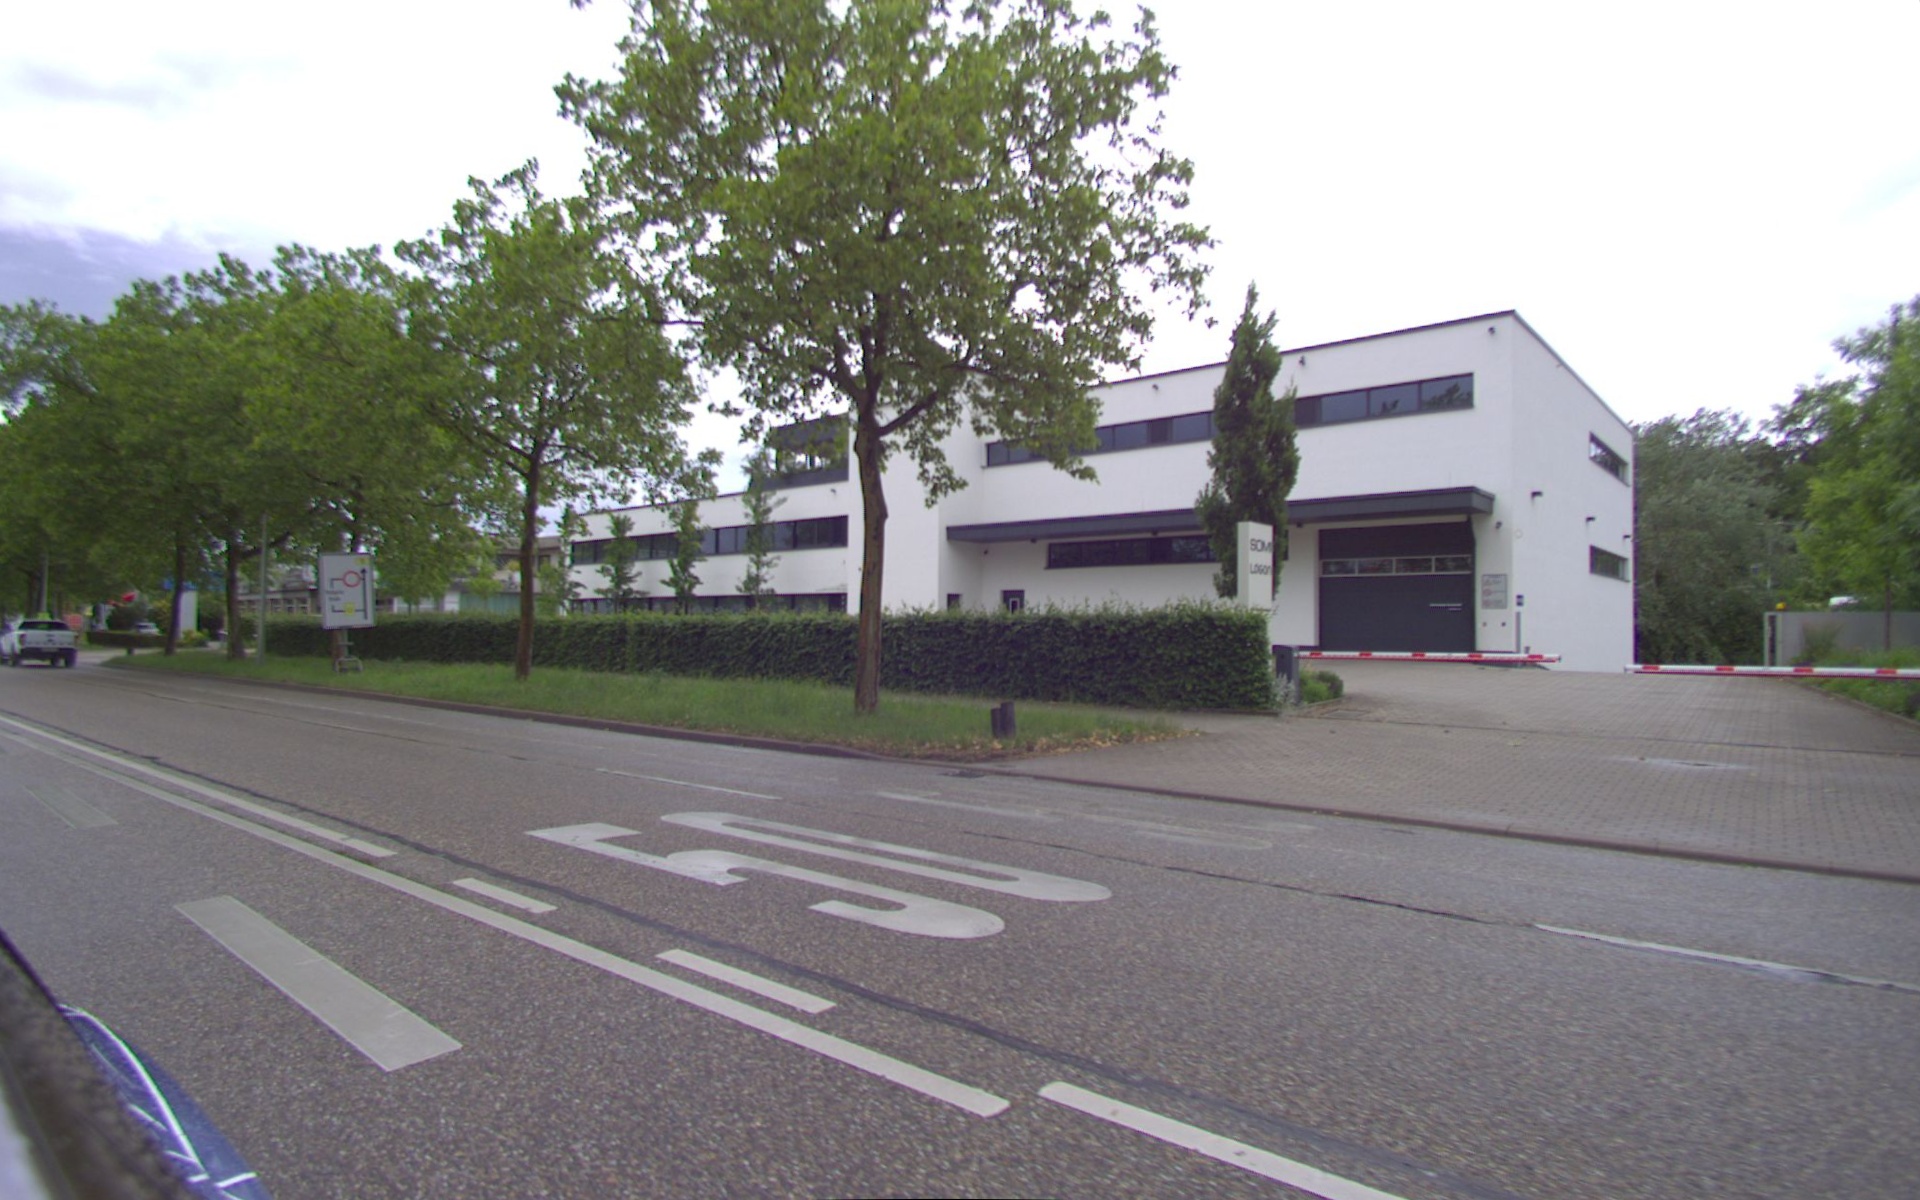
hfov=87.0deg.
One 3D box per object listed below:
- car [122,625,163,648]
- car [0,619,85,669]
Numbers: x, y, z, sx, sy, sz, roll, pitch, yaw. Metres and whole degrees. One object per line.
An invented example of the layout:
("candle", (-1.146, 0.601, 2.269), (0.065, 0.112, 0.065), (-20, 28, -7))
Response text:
("car", (-60.369, 2.690, 74.710), (3.999, 1.545, 1.723), (-1, -4, 42))
("car", (-35.512, 1.688, 38.921), (5.336, 1.819, 1.892), (-1, -4, 40))
